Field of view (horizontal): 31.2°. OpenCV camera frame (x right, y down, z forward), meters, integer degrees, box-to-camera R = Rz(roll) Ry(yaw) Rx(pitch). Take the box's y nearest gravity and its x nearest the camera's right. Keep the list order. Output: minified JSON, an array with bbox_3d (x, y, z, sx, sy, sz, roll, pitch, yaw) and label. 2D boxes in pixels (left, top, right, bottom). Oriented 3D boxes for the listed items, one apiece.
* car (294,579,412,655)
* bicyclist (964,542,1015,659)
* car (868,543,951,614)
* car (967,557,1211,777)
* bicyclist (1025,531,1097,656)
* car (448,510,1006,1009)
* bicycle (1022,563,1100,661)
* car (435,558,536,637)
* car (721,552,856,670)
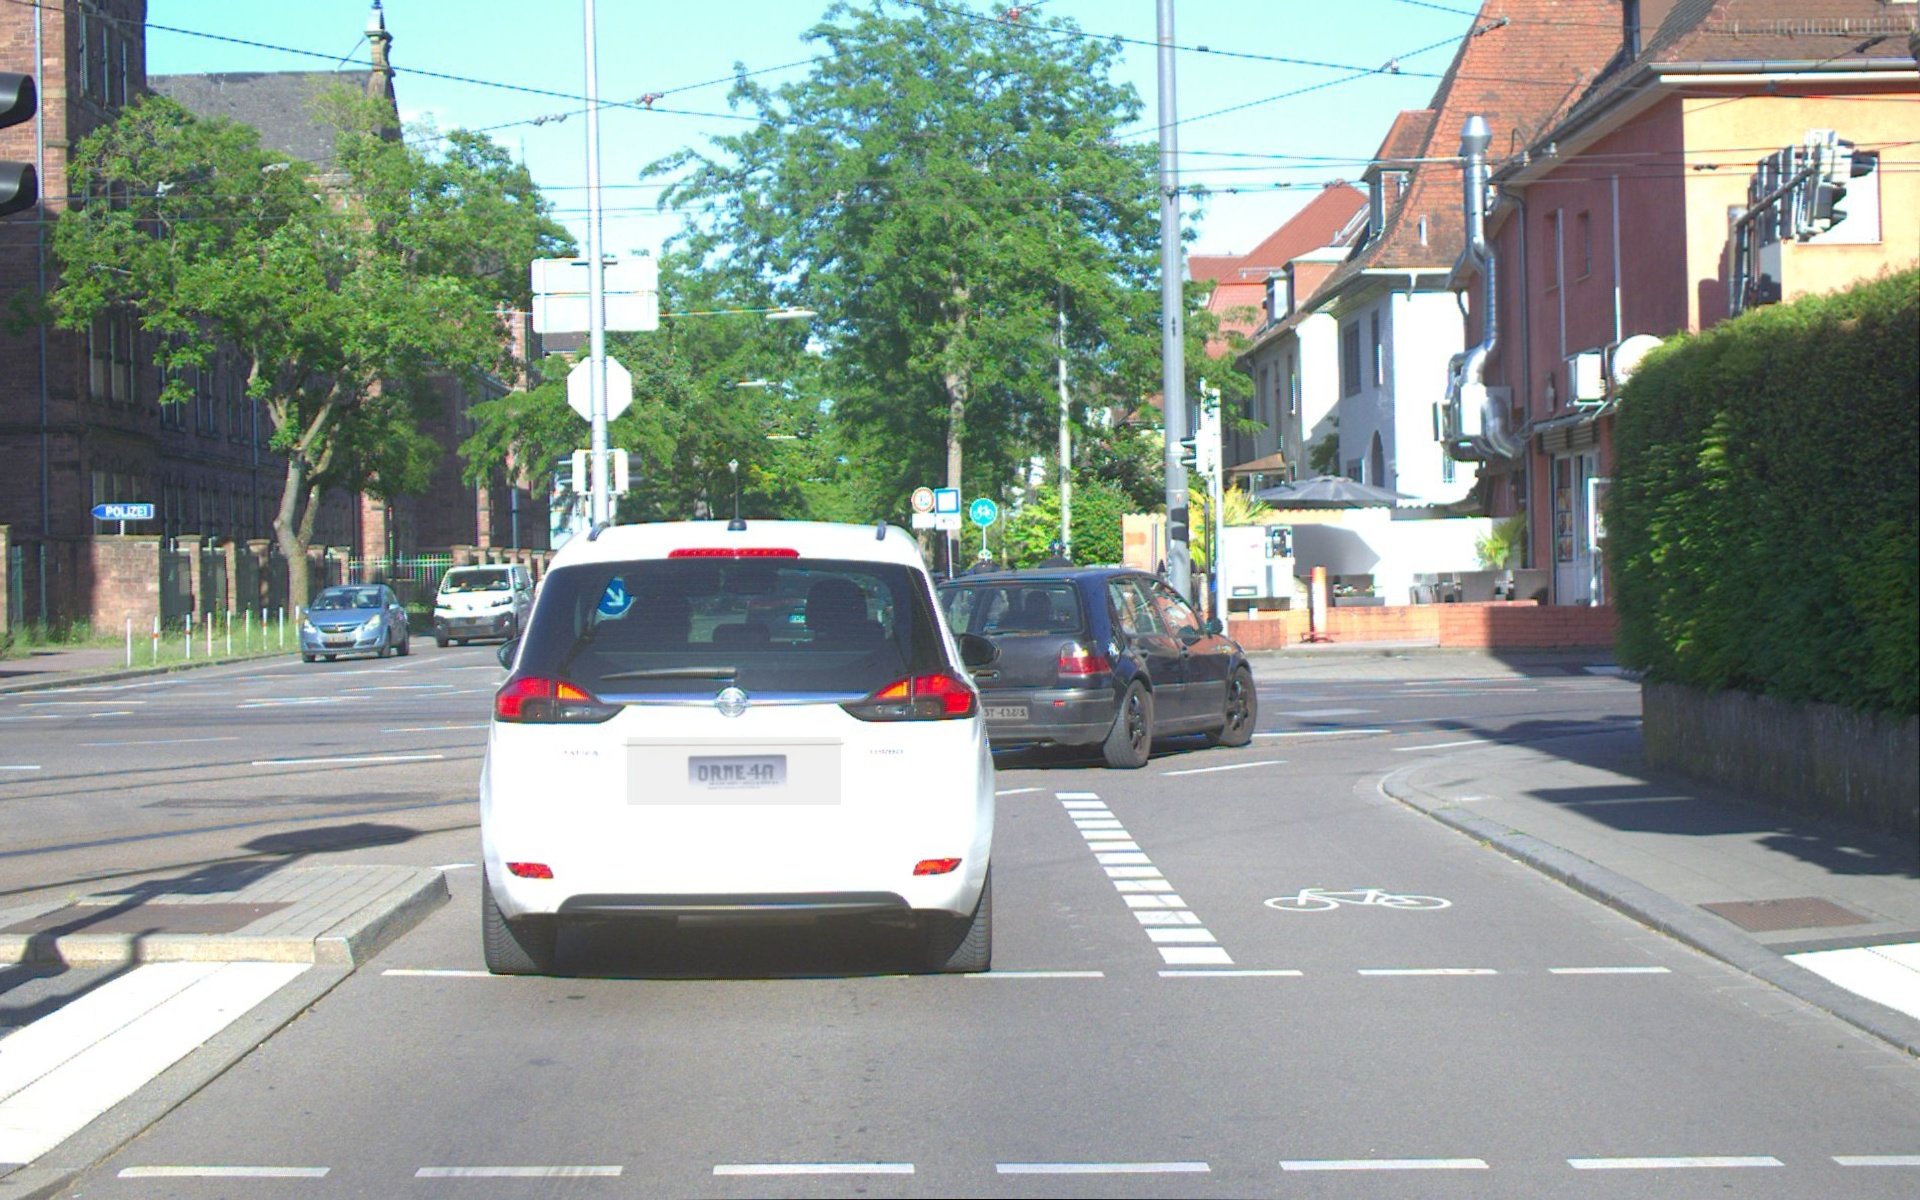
[{"bbox_3d":[-11.859,0.319,67.341,1.581,1.436,3.584,-1,0,2],"label":"car"},{"bbox_3d":[0.417,0.002,48.592,0.685,1.629,1.015,-1,0,2],"label":"bicyclist"},{"bbox_3d":[-1.182,-0.503,81.974,1.776,1.626,3.880,-1,0,2],"label":"car"},{"bbox_3d":[0.898,0.423,24.822,1.586,1.415,3.900,-2,1,1],"label":"car"},{"bbox_3d":[1.221,-0.086,41.852,0.821,1.496,0.934,-1,0,-1],"label":"bicyclist"},{"bbox_3d":[-0.775,0.520,13.369,1.835,1.636,3.919,-1,0,0],"label":"car"},{"bbox_3d":[1.219,0.136,41.941,0.829,1.150,2.095,-1,0,-1],"label":"bicycle"},{"bbox_3d":[-11.108,-0.065,80.695,1.892,1.777,3.881,-1,0,-1],"label":"car"},{"bbox_3d":[-2.430,0.144,49.522,1.776,1.626,3.881,-1,0,-1],"label":"car"}]
